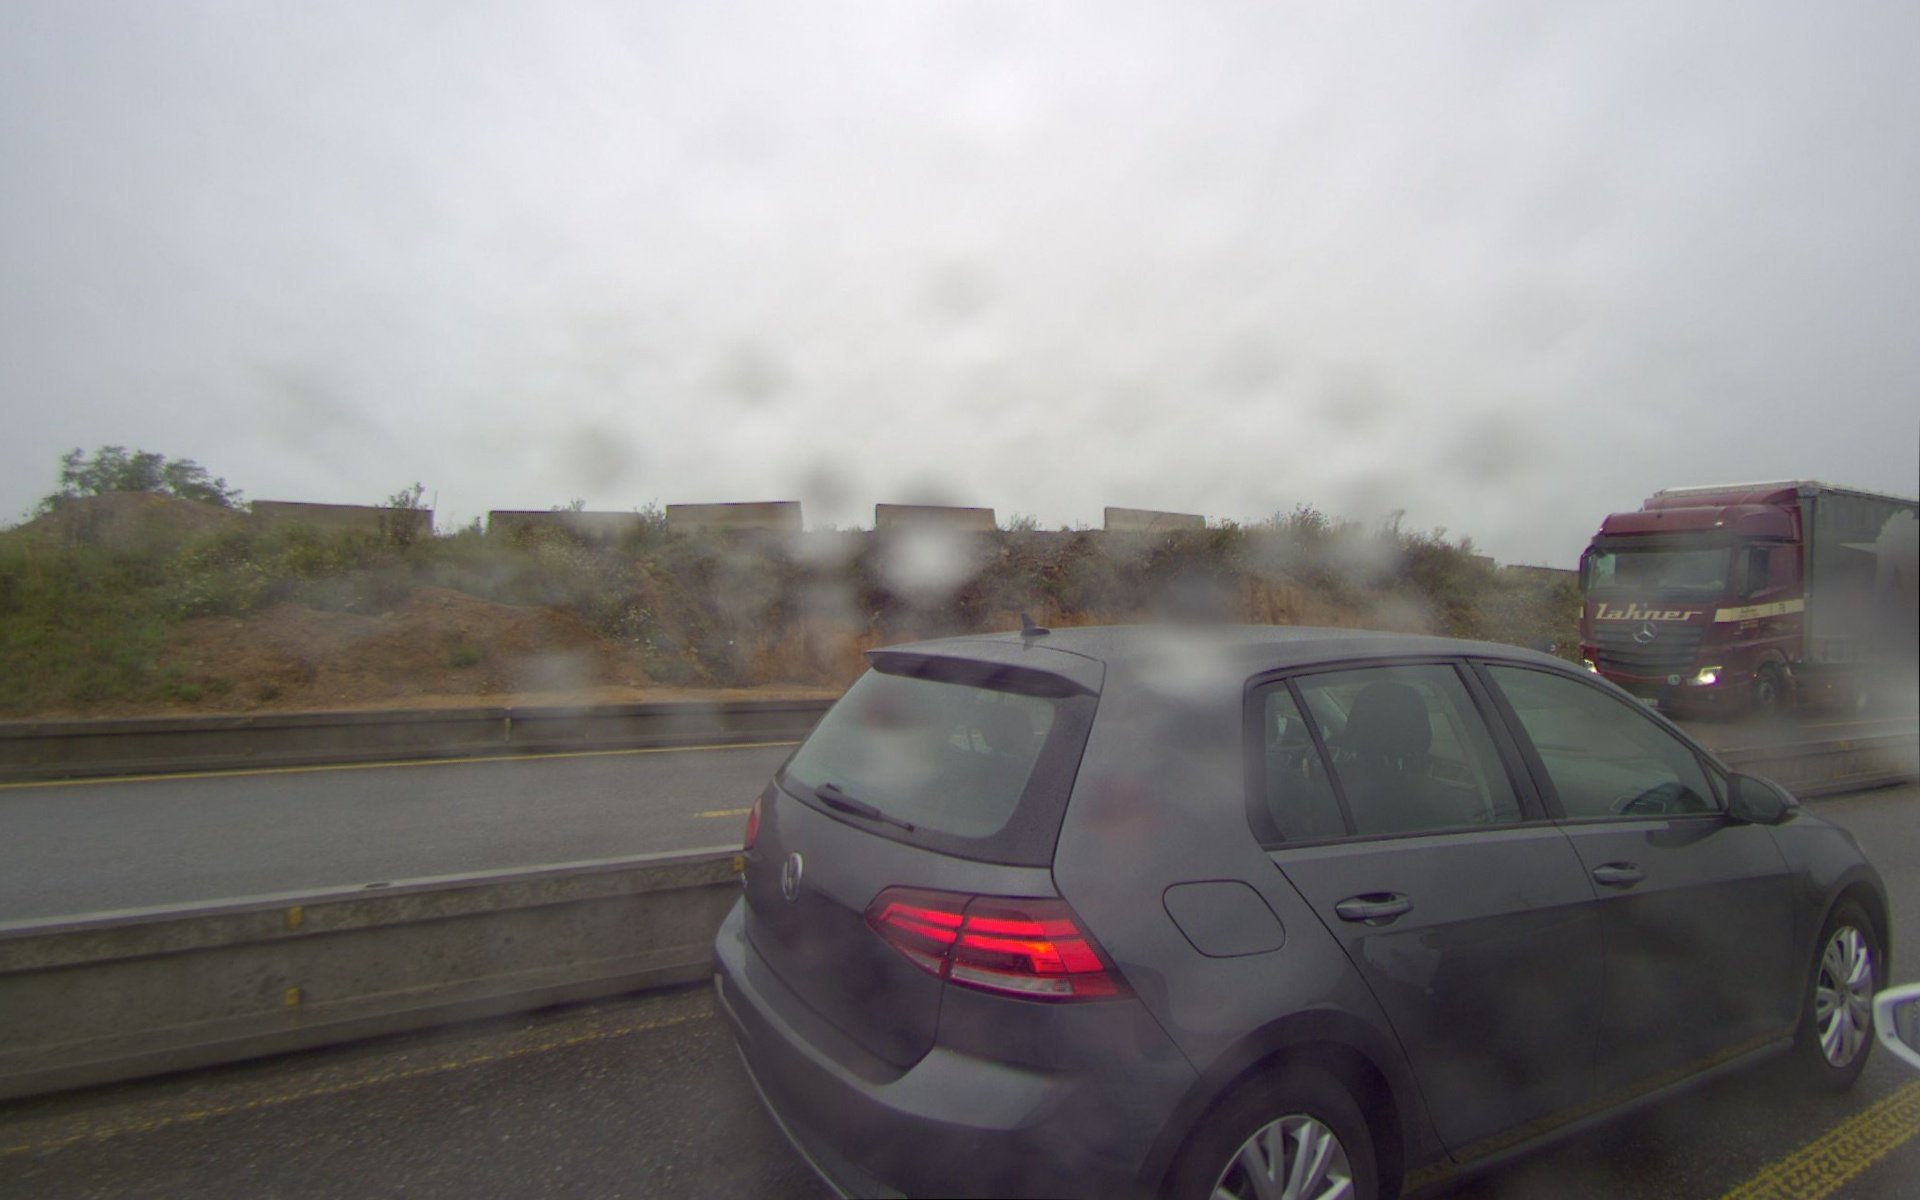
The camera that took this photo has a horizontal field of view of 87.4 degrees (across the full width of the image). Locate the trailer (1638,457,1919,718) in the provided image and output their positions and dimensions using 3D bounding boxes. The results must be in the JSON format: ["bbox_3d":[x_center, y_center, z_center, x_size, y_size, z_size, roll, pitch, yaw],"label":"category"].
[{"bbox_3d":[20.939,-0.044,22.283,15.509,4.479,2.983,1,-2,-29],"label":"trailer"}]

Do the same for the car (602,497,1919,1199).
[{"bbox_3d":[1.264,0.706,3.145,4.313,1.526,1.608,2,-3,-28],"label":"car"}]

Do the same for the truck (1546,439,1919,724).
[{"bbox_3d":[14.448,-0.186,18.714,6.846,4.466,2.968,1,-2,-29],"label":"truck"}]
